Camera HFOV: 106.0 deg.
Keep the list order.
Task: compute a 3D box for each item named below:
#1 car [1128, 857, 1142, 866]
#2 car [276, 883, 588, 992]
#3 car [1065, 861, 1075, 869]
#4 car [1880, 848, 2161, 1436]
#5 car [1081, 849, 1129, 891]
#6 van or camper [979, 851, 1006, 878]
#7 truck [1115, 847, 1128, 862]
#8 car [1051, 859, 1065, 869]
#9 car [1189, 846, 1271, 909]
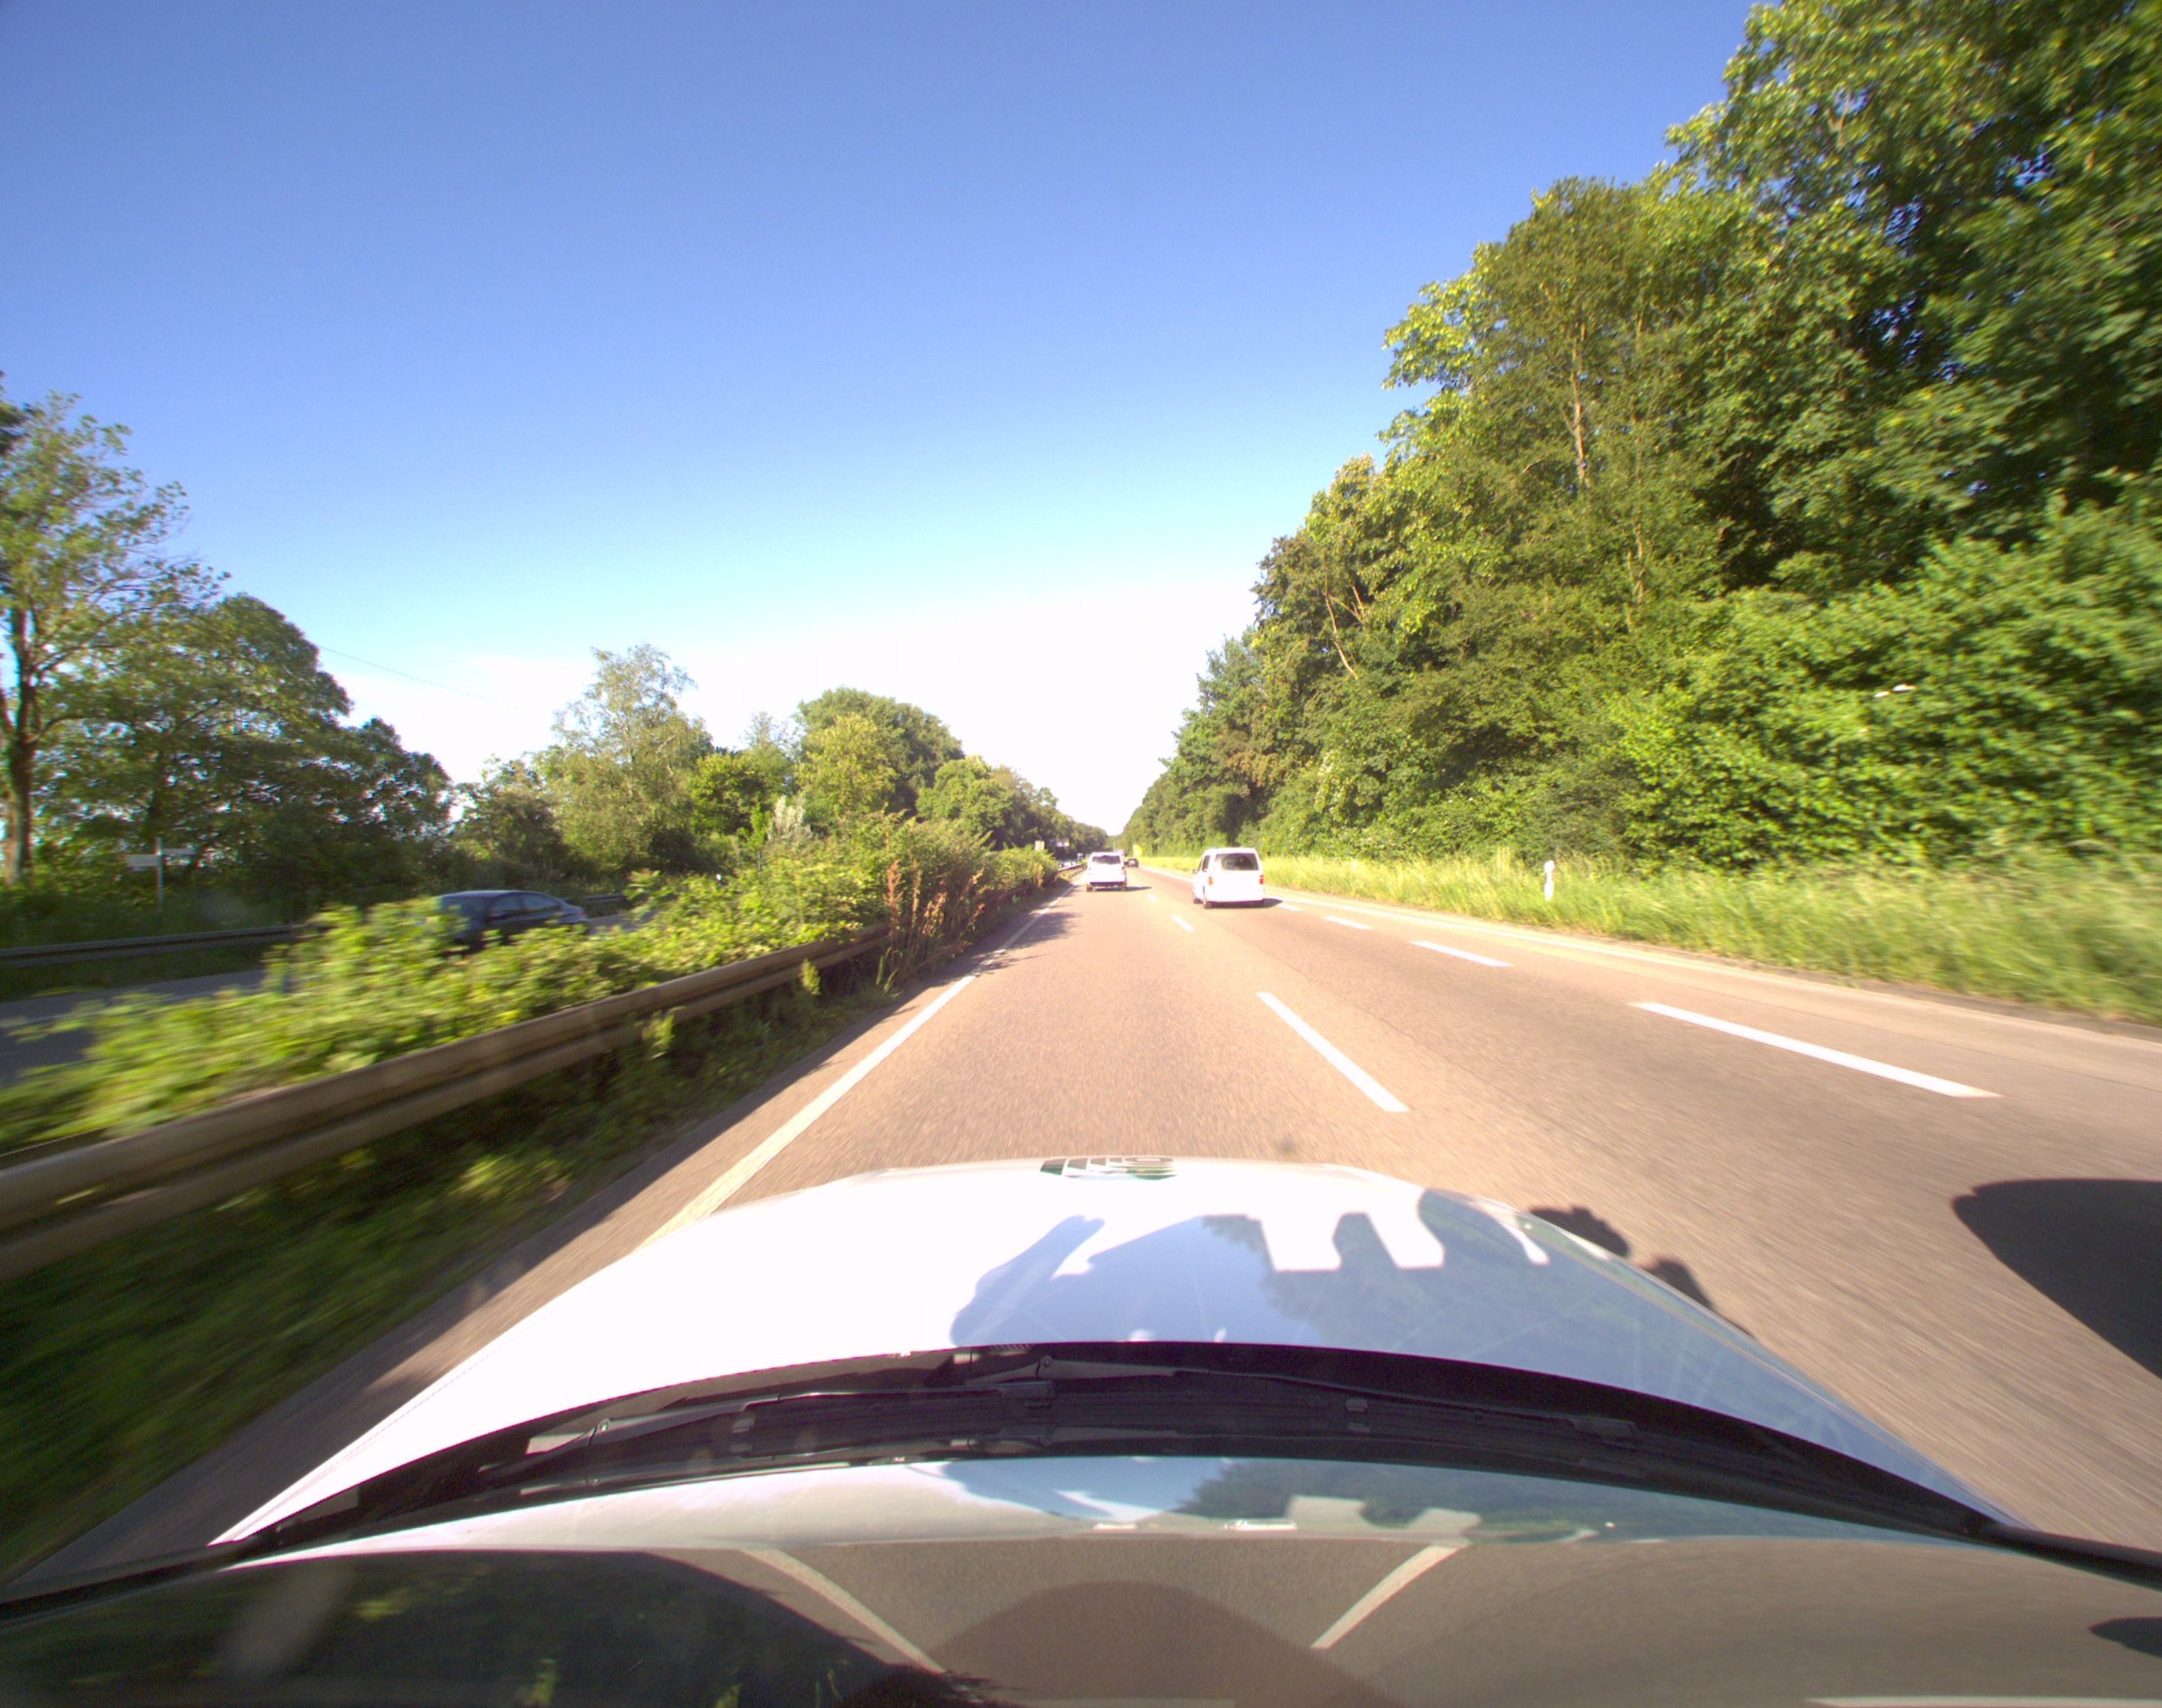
[{"bbox_3d":[8.125,1.135,123.652,1.986,1.398,4.001,-1,0,1],"label":"car"},{"bbox_3d":[-11.192,1.343,14.588,1.955,1.450,4.505,-2,0,-1],"label":"car"},{"bbox_3d":[-2.398,2.262,172.677,1.870,1.540,4.466,-2,0,1],"label":"car"},{"bbox_3d":[3.606,0.697,0.553,1.873,1.461,4.356,-1,0,0],"label":"car"},{"bbox_3d":[1.039,0.718,37.880,2.079,1.828,3.999,-1,0,0],"label":"car"},{"bbox_3d":[-9.317,1.064,86.358,1.986,2.722,5.256,-2,0,2],"label":"van or camper"},{"bbox_3d":[11.855,0.148,239.865,3.483,4.172,8.865,-2,0,2],"label":"truck"},{"bbox_3d":[-3.687,1.661,131.338,1.953,1.540,4.466,-1,0,1],"label":"car"},{"bbox_3d":[4.518,0.678,25.314,1.856,1.770,4.472,-1,0,2],"label":"car"}]
